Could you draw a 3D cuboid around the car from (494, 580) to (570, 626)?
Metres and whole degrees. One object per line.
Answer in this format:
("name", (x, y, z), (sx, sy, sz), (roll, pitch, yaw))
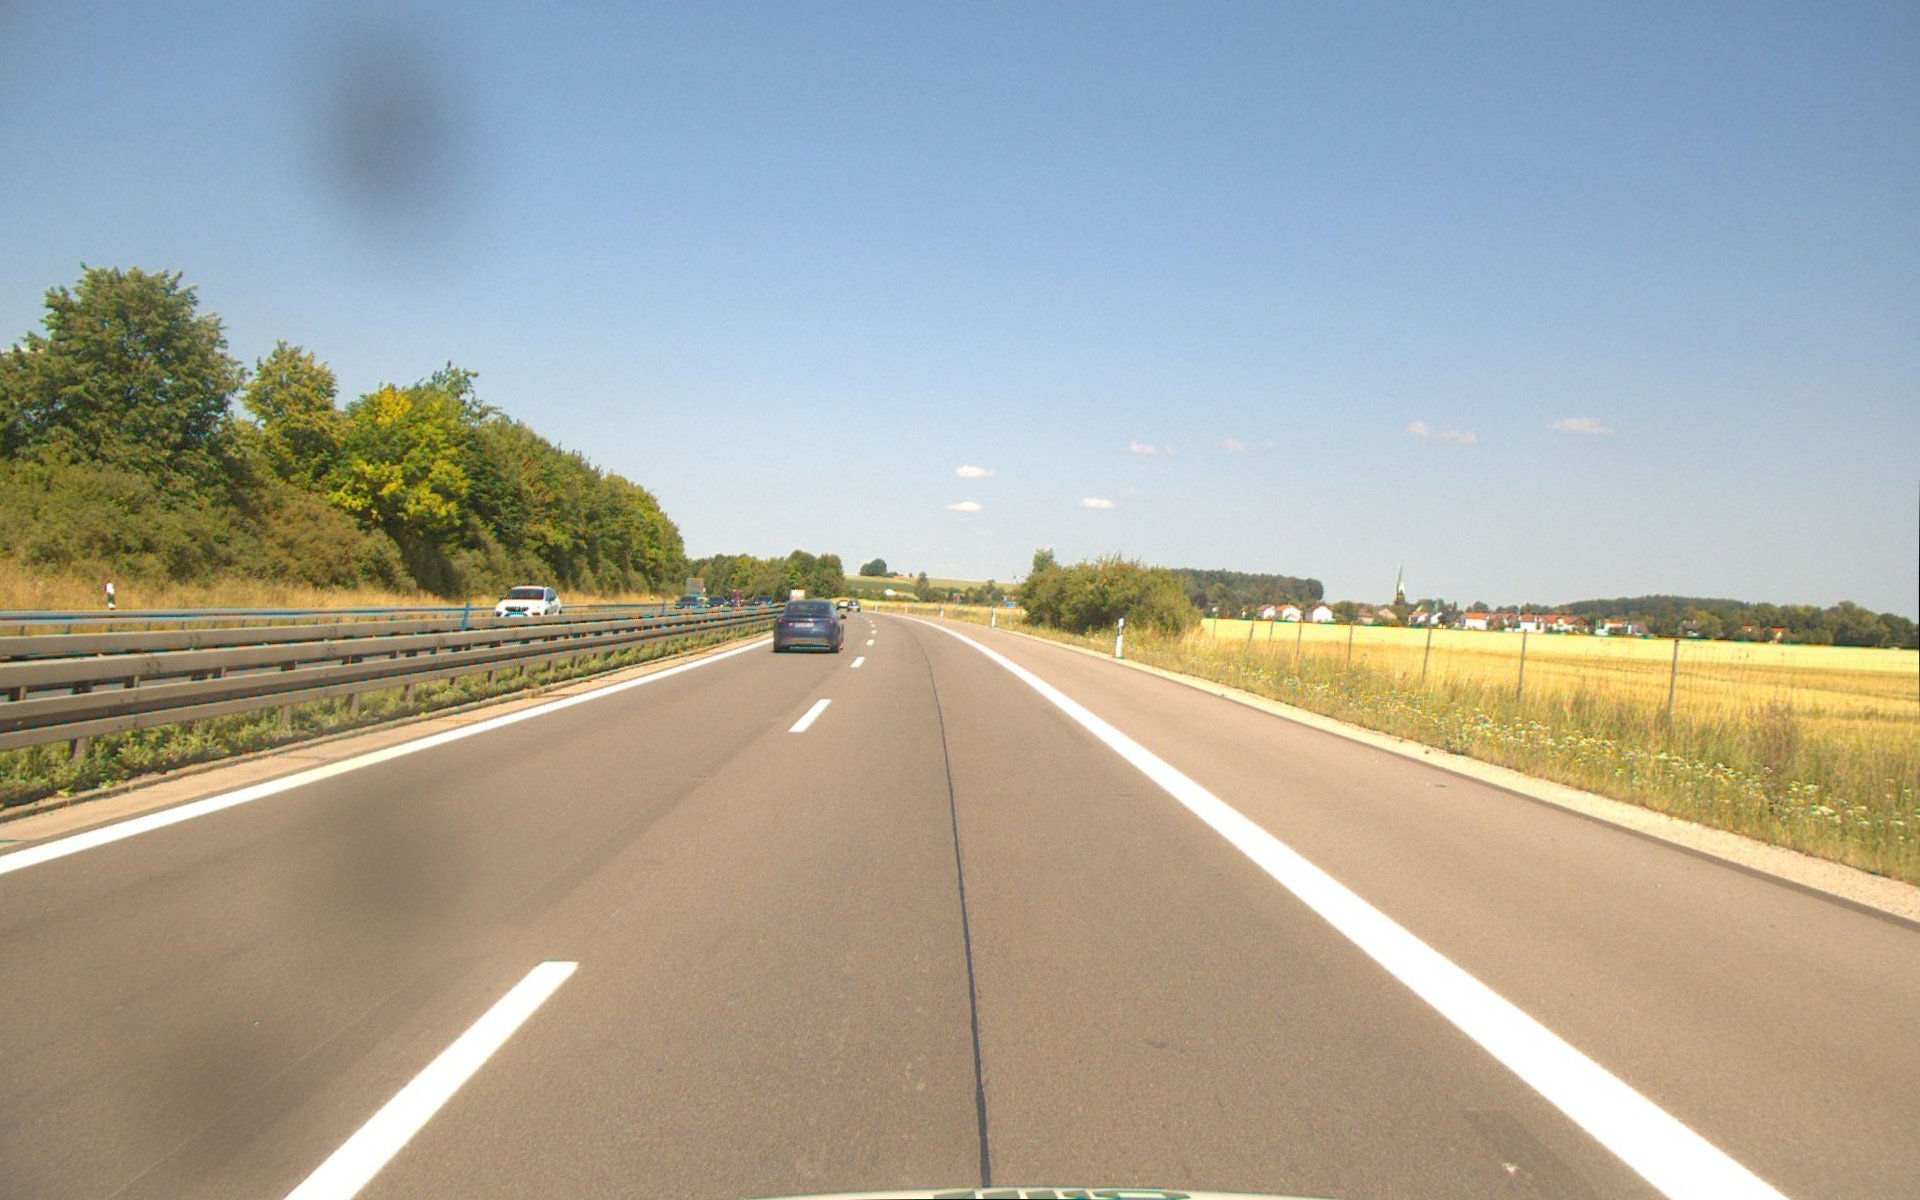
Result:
("car", (-15.853, 0.092, 61.498), (1.716, 1.592, 4.578), (2, 0, -2))

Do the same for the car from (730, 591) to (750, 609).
("car", (-32.878, 0.004, 247.581), (2.494, 2.640, 6.587), (2, 0, -5))

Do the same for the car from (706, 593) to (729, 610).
("car", (-21.653, 0.162, 147.865), (1.629, 1.447, 3.997), (1, 0, -3))

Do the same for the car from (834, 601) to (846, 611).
("car", (-17.746, 0.840, 243.917), (1.644, 1.478, 3.587), (1, 0, -6))

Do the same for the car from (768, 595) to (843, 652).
("car", (-4.370, 0.632, 47.513), (1.810, 1.458, 5.863), (1, 0, -2))

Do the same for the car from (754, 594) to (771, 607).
("car", (-22.500, 0.081, 188.763), (1.629, 1.447, 3.997), (1, 0, -3))

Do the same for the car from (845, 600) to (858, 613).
("car", (-13.696, 0.824, 208.826), (1.643, 1.478, 3.588), (1, 0, -5))

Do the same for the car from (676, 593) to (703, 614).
("car", (-19.806, 0.253, 121.049), (1.547, 1.487, 4.149), (2, 0, -4))

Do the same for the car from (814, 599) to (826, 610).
("car", (-19.344, 0.640, 228.546), (1.643, 1.478, 3.588), (1, 0, -5))
